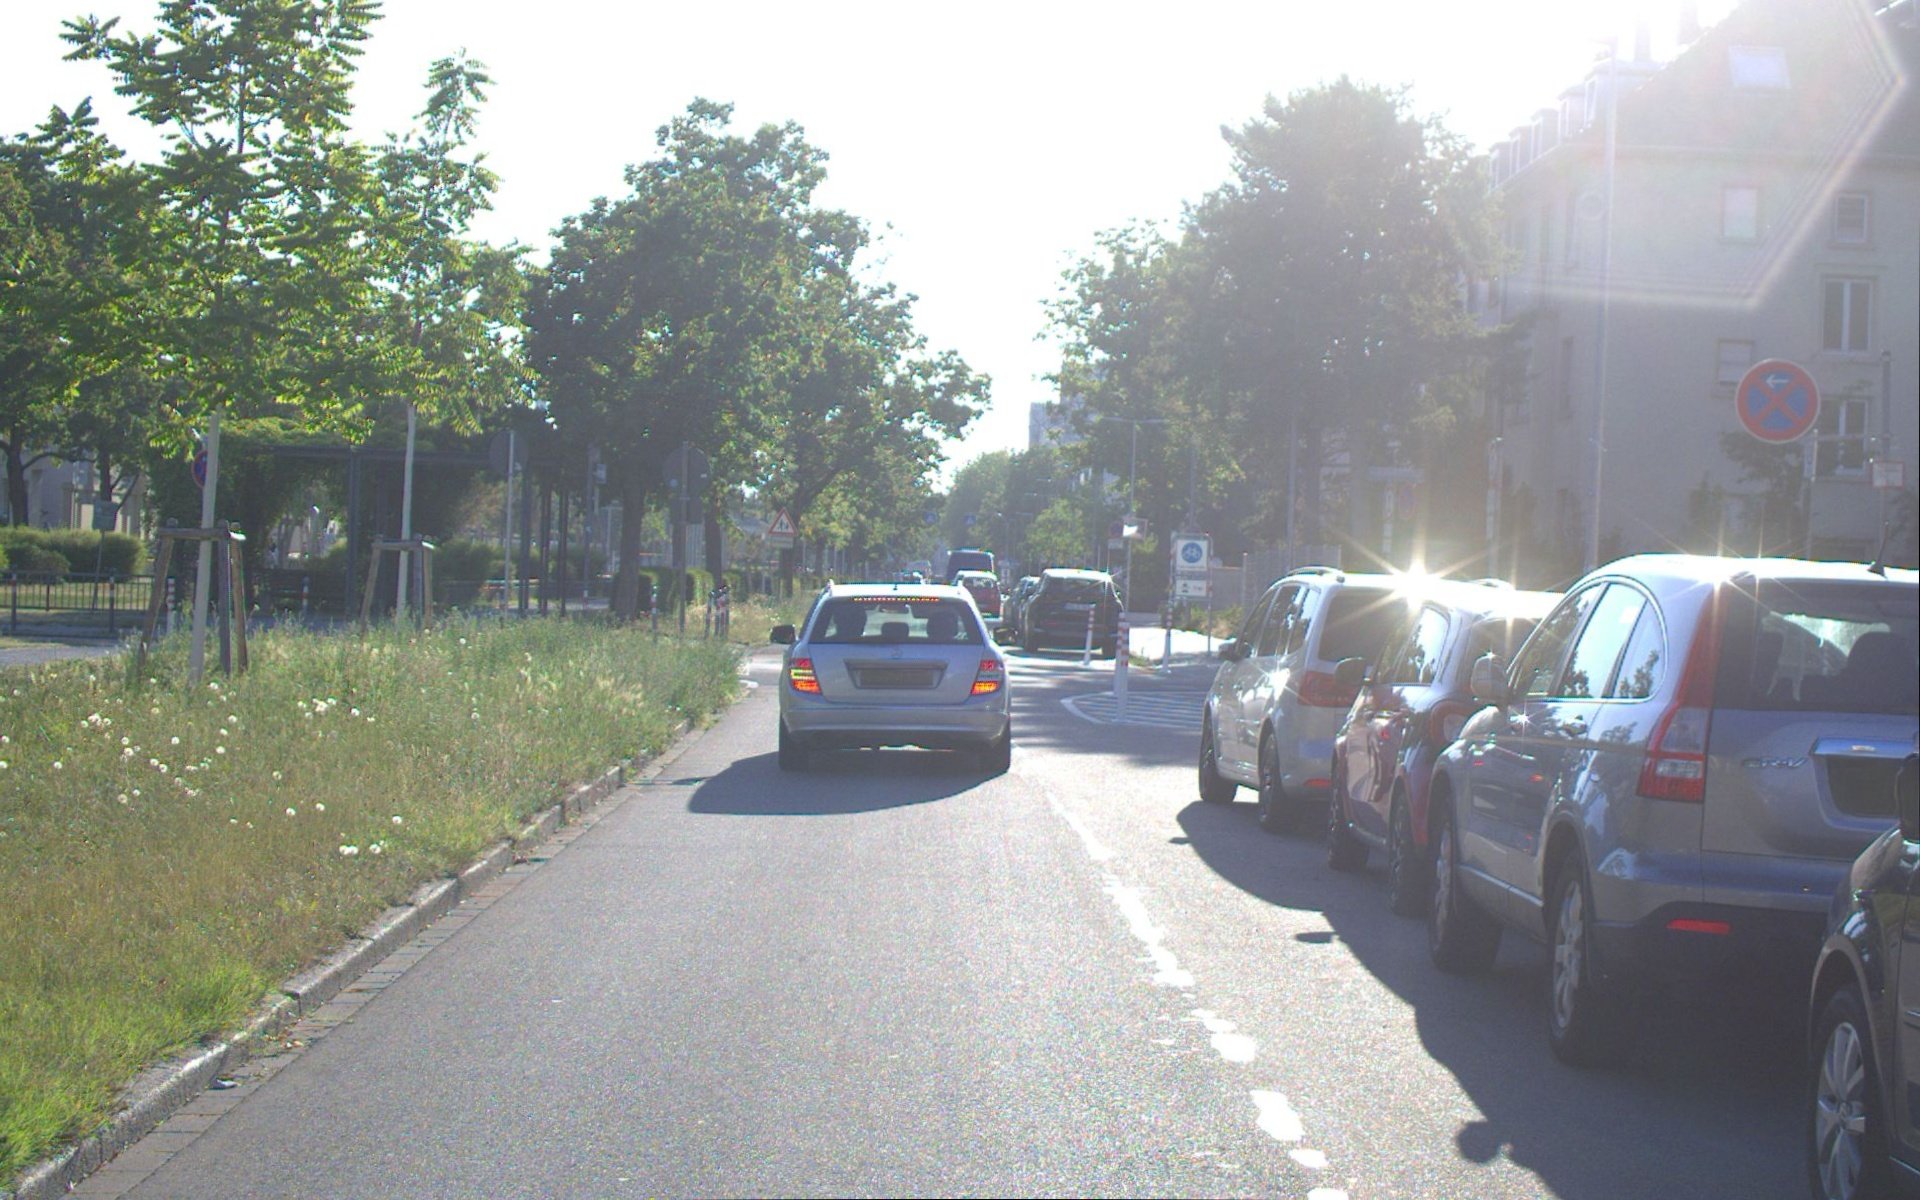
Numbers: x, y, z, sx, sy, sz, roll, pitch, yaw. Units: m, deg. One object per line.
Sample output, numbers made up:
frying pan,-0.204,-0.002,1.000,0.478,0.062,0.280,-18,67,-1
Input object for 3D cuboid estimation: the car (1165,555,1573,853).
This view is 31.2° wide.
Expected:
car,2.552,0.587,22.565,1.716,1.633,4.565,4,1,-4

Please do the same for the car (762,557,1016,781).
car,-0.520,0.475,26.998,1.823,1.561,4.000,1,1,0

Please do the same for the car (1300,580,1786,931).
car,2.809,0.690,17.337,1.729,1.521,3.735,1,1,-1

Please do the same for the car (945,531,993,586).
car,0.365,-1.711,142.747,1.861,2.185,5.070,2,1,0

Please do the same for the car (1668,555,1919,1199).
car,2.894,0.769,6.962,1.766,1.629,4.765,3,0,-1

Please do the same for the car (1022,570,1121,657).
car,2.125,0.251,66.391,1.721,1.591,4.000,2,0,0

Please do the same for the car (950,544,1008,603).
car,0.671,-0.975,124.588,1.988,2.016,4.000,2,1,0

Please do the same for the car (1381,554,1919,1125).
car,2.768,0.692,12.398,1.777,1.637,4.757,2,0,-1
